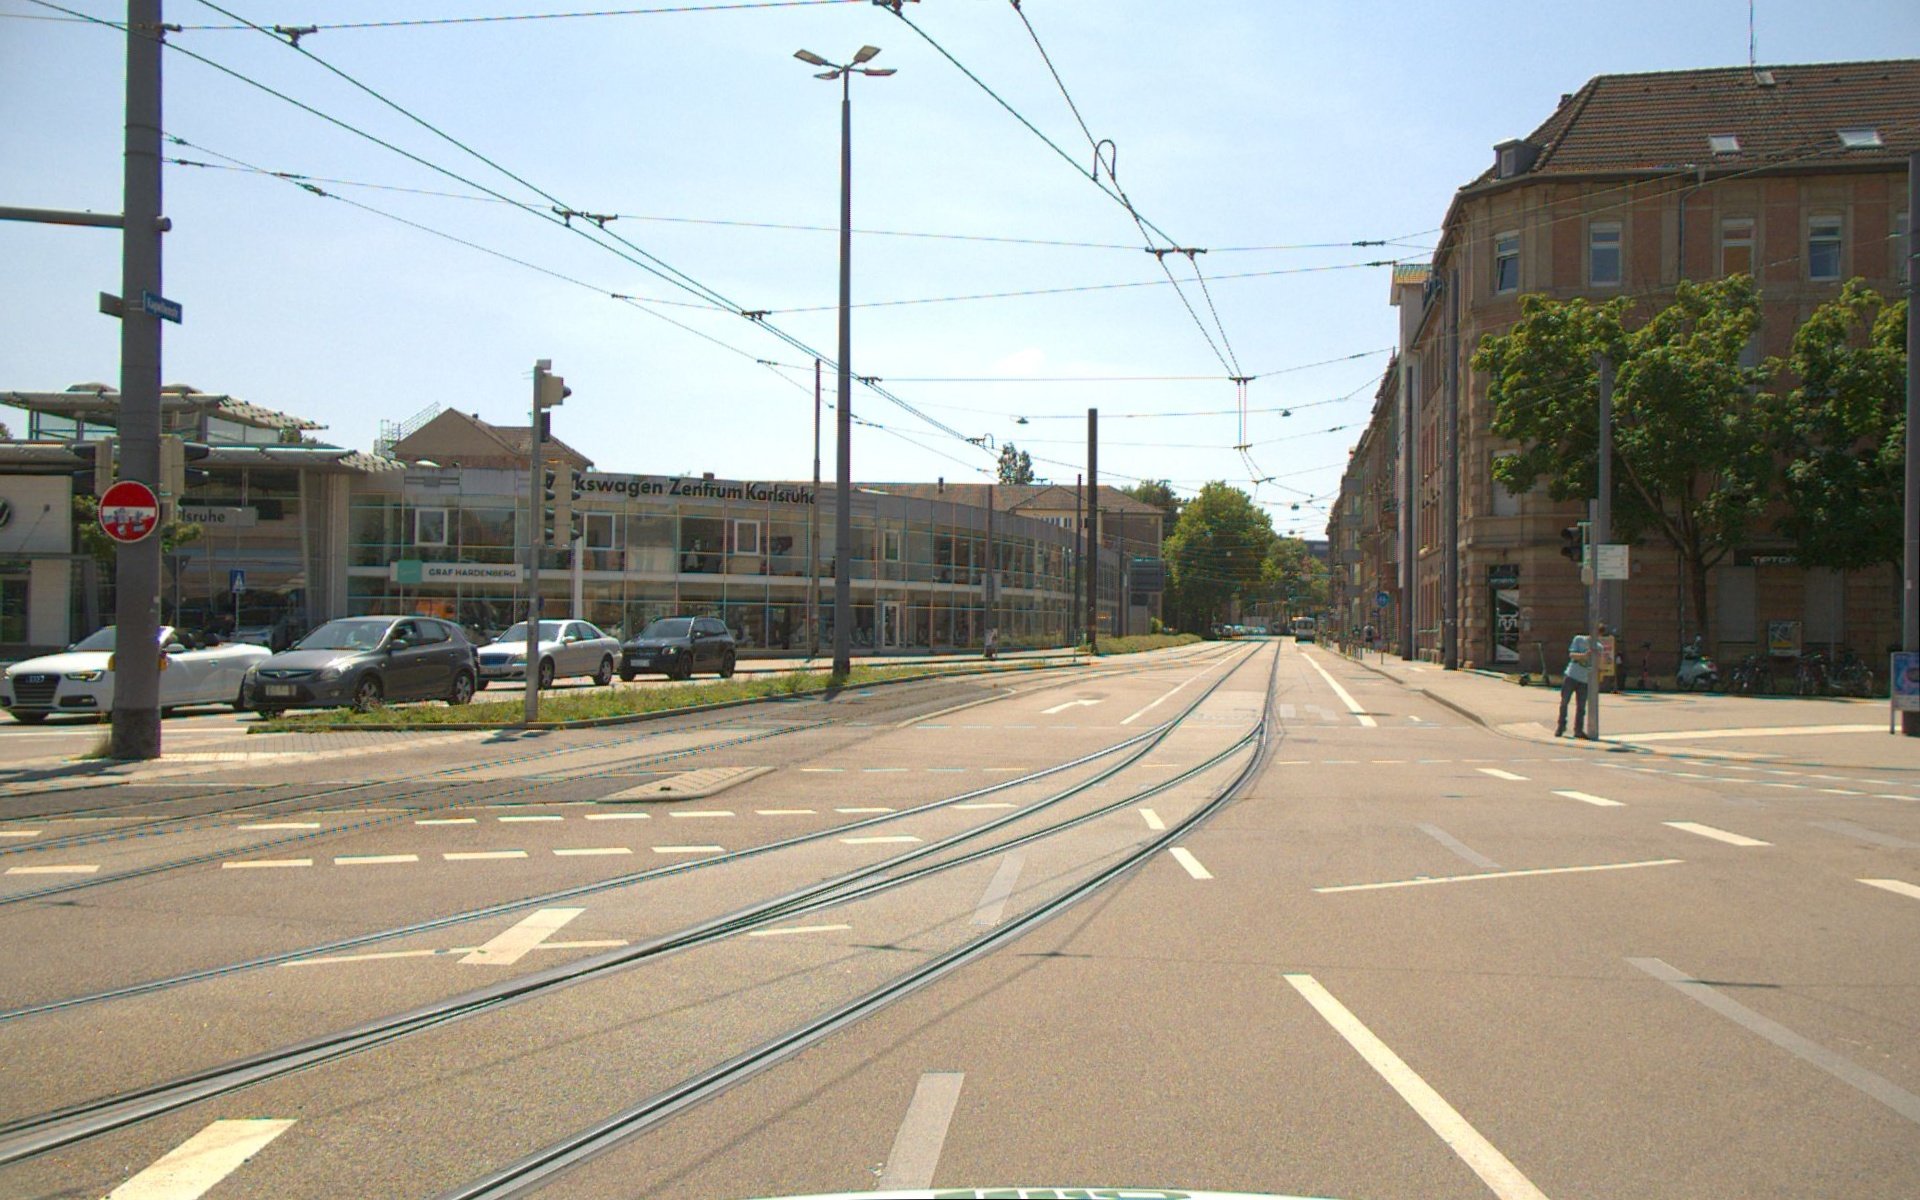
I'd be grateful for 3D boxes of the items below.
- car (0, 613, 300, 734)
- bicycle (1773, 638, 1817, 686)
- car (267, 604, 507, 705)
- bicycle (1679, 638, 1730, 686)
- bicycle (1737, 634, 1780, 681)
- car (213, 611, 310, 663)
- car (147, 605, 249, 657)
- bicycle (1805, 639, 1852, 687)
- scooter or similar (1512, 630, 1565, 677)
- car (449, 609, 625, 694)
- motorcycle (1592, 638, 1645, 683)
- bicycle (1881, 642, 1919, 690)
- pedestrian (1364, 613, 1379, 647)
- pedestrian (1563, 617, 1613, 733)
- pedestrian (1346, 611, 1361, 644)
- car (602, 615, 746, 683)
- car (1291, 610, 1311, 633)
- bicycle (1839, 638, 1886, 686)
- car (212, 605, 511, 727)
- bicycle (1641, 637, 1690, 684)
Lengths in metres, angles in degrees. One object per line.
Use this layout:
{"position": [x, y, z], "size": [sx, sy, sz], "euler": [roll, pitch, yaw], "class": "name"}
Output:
{"position": [-12.185, 1.011, 24.761], "size": [2.032, 1.608, 4.850], "euler": [0, -1, 10], "class": "car"}
{"position": [20.764, 1.518, 41.164], "size": [0.539, 1.139, 1.822], "euler": [0, -1, 12], "class": "bicycle"}
{"position": [-10.587, 0.963, 31.003], "size": [1.951, 1.730, 4.850], "euler": [0, -1, 13], "class": "car"}
{"position": [18.766, 1.562, 41.735], "size": [0.433, 1.166, 2.094], "euler": [2, -2, 3], "class": "bicycle"}
{"position": [19.960, 1.426, 41.371], "size": [0.539, 1.139, 1.822], "euler": [0, -1, 12], "class": "bicycle"}
{"position": [-25.226, 1.343, 59.864], "size": [1.882, 1.737, 3.997], "euler": [2, -2, -3], "class": "car"}
{"position": [-27.416, 1.119, 59.636], "size": [1.882, 1.737, 3.997], "euler": [2, -2, -3], "class": "car"}
{"position": [21.539, 1.544, 41.060], "size": [0.539, 1.139, 1.891], "euler": [0, -1, 12], "class": "bicycle"}
{"position": [15.468, 1.417, 44.201], "size": [1.778, 1.202, 0.590], "euler": [1, -1, -44], "class": "scooter or similar"}
{"position": [-9.406, 1.110, 37.194], "size": [1.951, 1.770, 4.547], "euler": [0, -1, 13], "class": "car"}
{"position": [16.569, 1.515, 41.660], "size": [0.568, 1.093, 1.946], "euler": [0, -1, 0], "class": "motorcycle"}
{"position": [23.812, 1.654, 41.672], "size": [0.539, 1.139, 1.931], "euler": [0, -1, 12], "class": "bicycle"}
{"position": [25.565, 1.852, 102.777], "size": [0.751, 2.049, 0.664], "euler": [2, -2, 8], "class": "pedestrian"}
{"position": [9.561, 1.126, 25.197], "size": [0.452, 1.738, 0.638], "euler": [0, -1, -11], "class": "pedestrian"}
{"position": [24.491, 1.717, 102.917], "size": [0.751, 2.049, 0.664], "euler": [2, -2, 8], "class": "pedestrian"}
{"position": [-7.525, 1.251, 44.028], "size": [2.034, 1.712, 4.850], "euler": [0, -1, 13], "class": "car"}
{"position": [35.103, 2.231, 170.302], "size": [1.951, 2.219, 4.372], "euler": [2, -2, 11], "class": "car"}
{"position": [22.703, 1.547, 41.628], "size": [0.539, 1.139, 1.872], "euler": [0, -1, 12], "class": "bicycle"}
{"position": [-8.953, 0.924, 25.278], "size": [1.951, 1.666, 4.850], "euler": [0, -1, 13], "class": "car"}
{"position": [17.731, 1.499, 41.589], "size": [0.539, 1.139, 1.821], "euler": [0, -1, 3], "class": "bicycle"}
